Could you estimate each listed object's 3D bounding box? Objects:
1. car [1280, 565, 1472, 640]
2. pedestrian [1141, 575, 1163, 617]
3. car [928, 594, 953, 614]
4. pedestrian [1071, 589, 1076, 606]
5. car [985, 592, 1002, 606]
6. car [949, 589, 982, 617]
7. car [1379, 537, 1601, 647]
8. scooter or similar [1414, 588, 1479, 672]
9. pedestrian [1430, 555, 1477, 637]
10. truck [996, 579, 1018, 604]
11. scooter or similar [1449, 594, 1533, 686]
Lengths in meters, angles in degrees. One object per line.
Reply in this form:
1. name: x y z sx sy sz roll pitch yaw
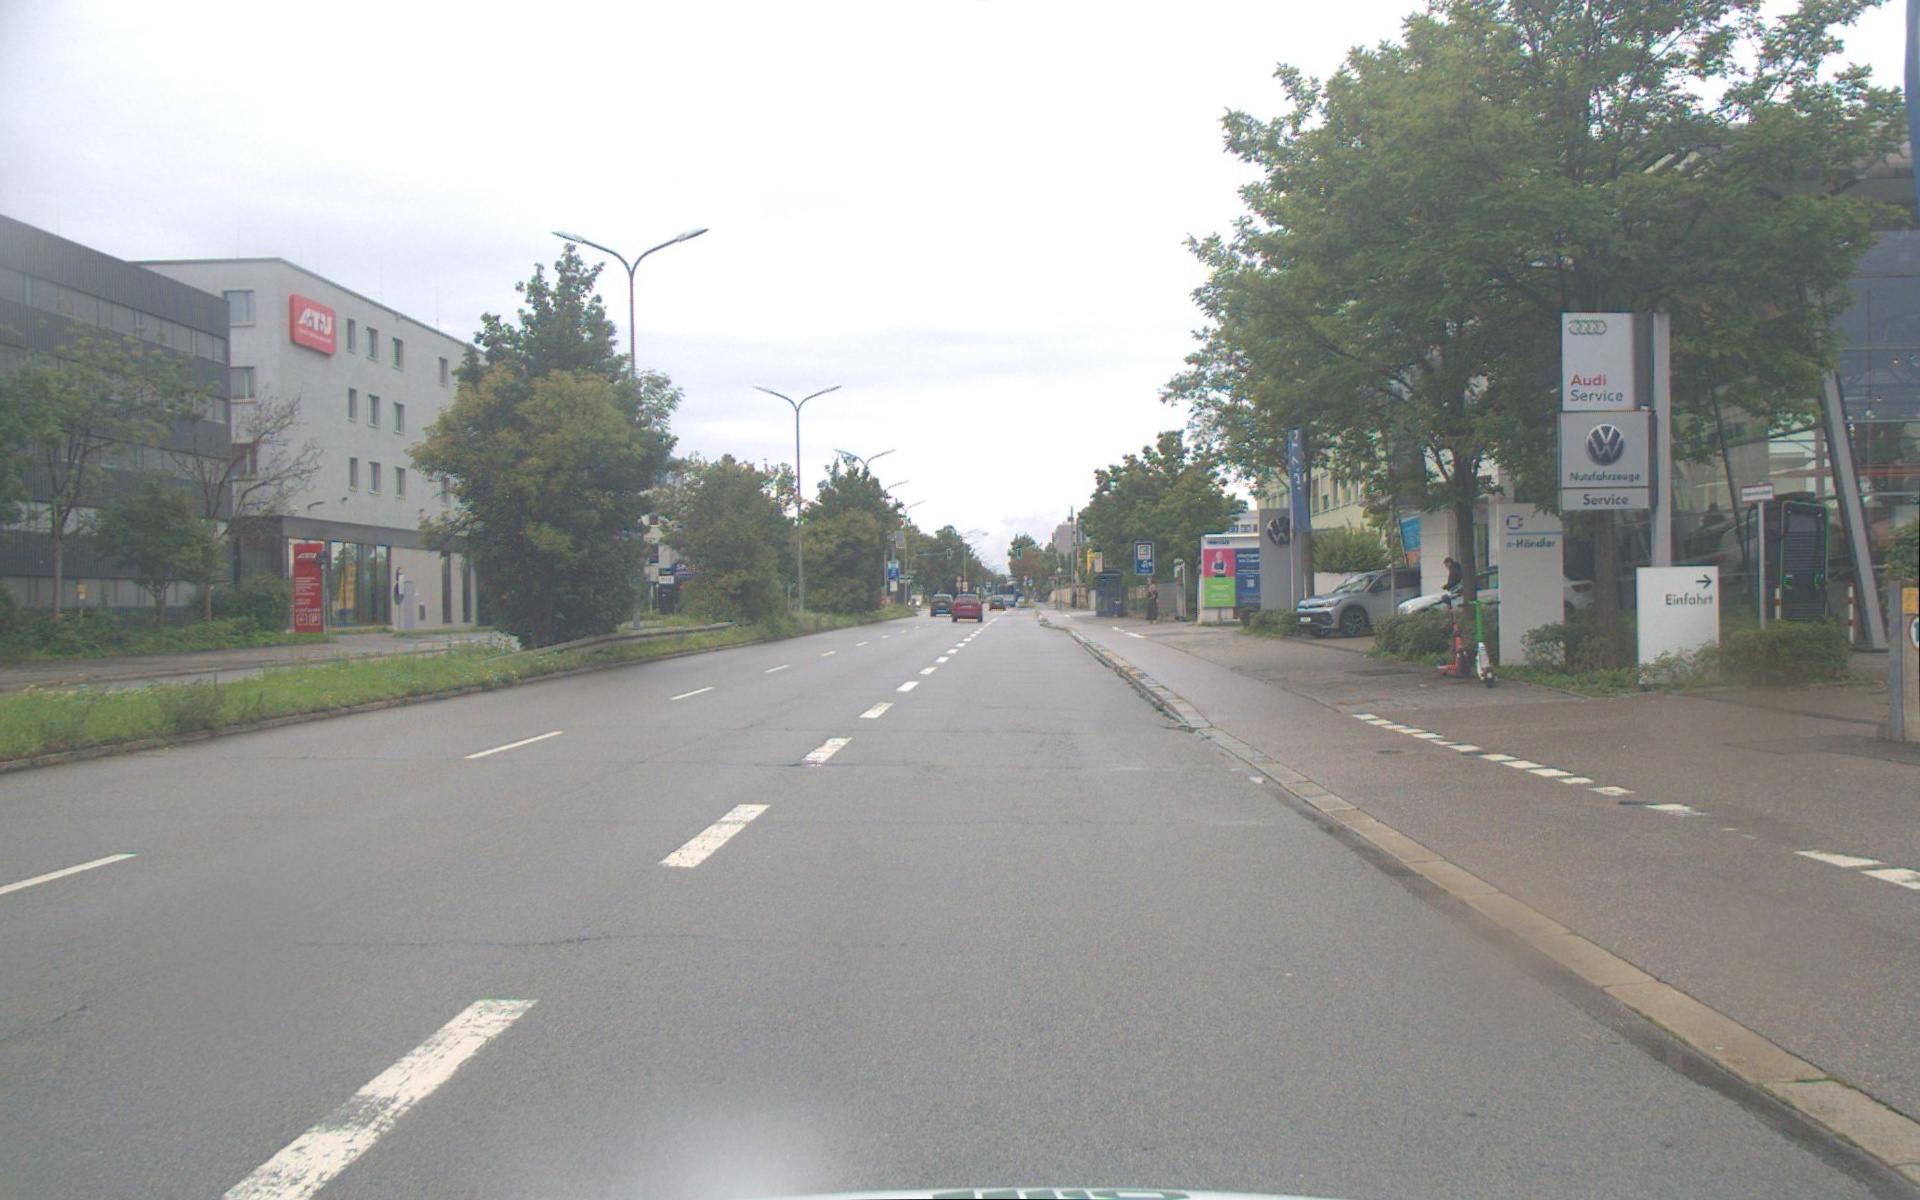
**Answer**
1. car: 11.006 0.067 43.802 4.520 1.736 1.996 -3 -1 -19
2. pedestrian: 8.363 -0.178 72.207 0.743 1.758 0.895 -4 0 0
3. car: -1.495 0.293 126.633 1.766 1.458 4.000 -1 0 0
4. pedestrian: 10.633 -0.233 155.290 0.473 1.664 0.591 -1 0 3
5. car: 3.574 -0.129 176.410 1.766 1.458 4.000 -1 0 0
6. car: 0.338 0.186 98.464 1.823 1.646 4.001 0 -1 2
7. car: 11.193 -0.143 34.950 4.164 2.049 1.961 -3 -1 26
8. scooter or similar: 7.489 0.440 25.517 0.486 1.225 1.430 -4 1 -1
9. pedestrian: 11.028 -0.090 36.961 0.800 1.807 0.705 0 0 -43
10. truck: 6.446 -1.082 228.149 2.908 3.343 7.915 -1 0 0
11. scooter or similar: 7.453 0.560 23.254 0.486 1.225 1.427 -4 -1 -8
